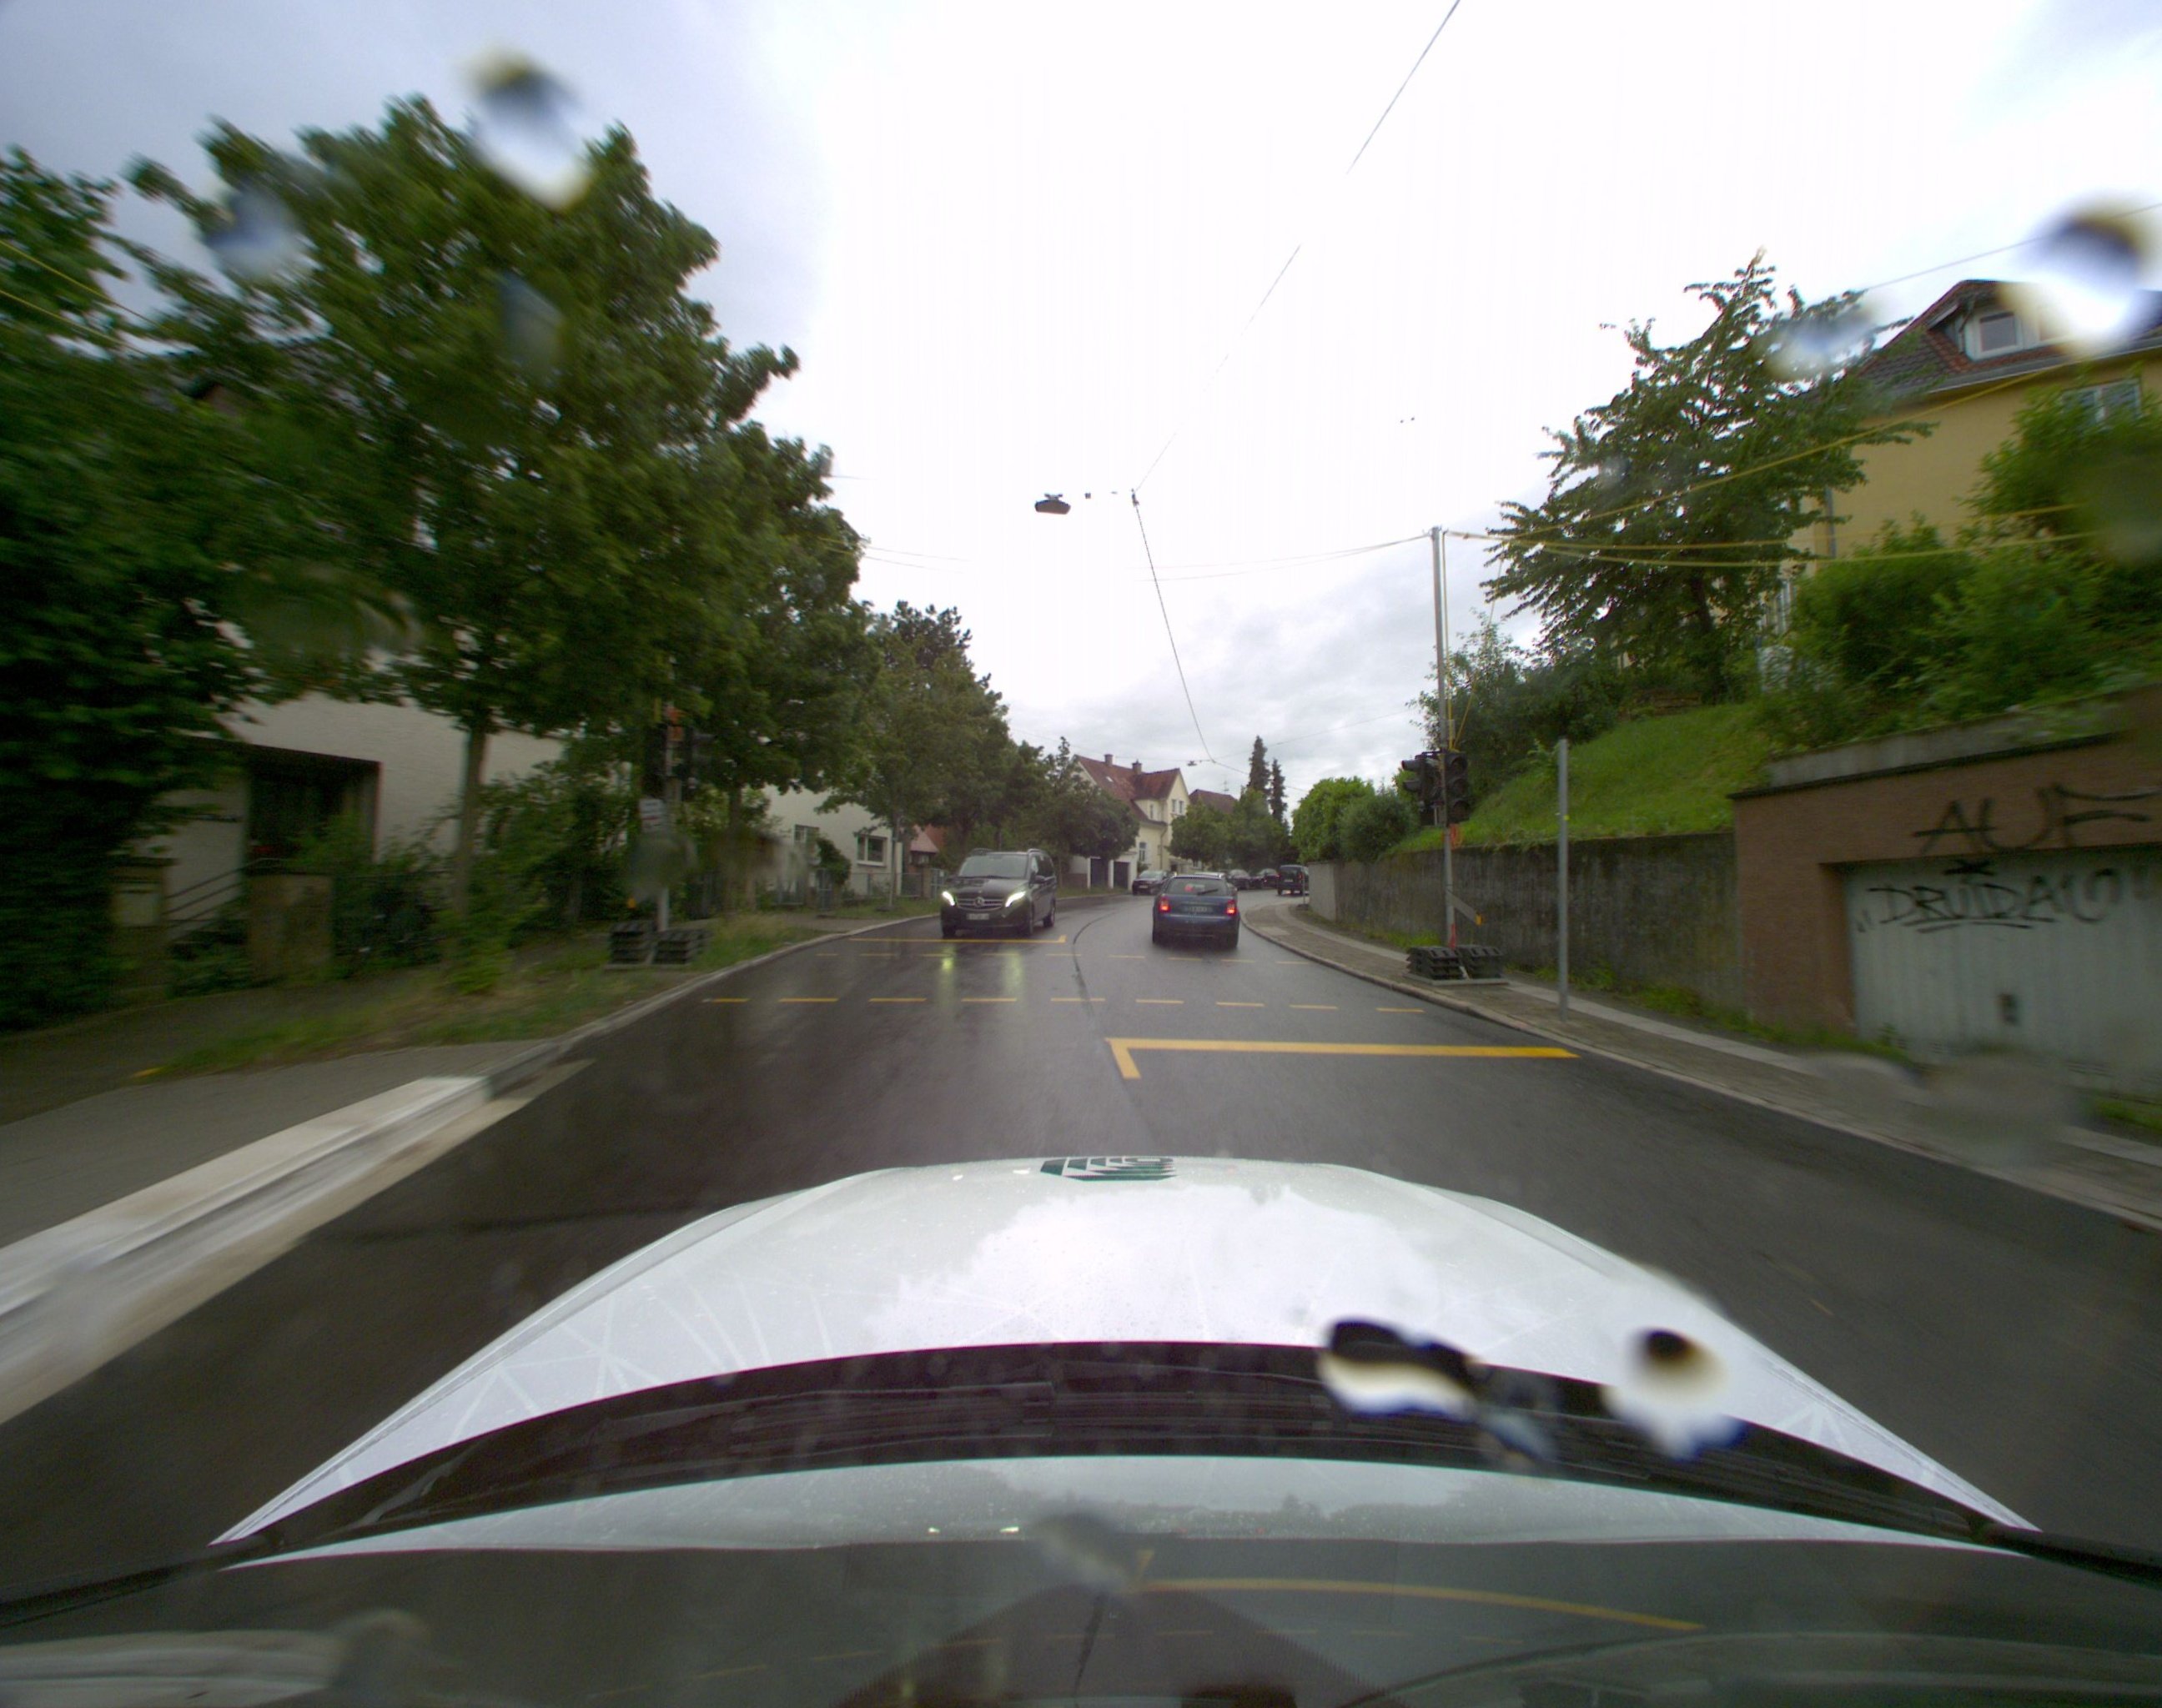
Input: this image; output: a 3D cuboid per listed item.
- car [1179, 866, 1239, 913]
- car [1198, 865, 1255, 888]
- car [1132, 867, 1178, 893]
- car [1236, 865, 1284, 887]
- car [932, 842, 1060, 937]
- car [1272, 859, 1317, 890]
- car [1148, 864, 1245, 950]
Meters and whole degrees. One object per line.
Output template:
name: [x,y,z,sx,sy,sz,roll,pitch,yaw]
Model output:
car: [5.374,1.405,33.737,1.961,1.635,4.252,-2,1,15]
car: [10.395,1.610,57.954,1.848,1.545,4.935,-1,-2,38]
car: [4.384,1.503,47.856,1.655,1.466,3.914,-2,-2,21]
car: [13.621,1.662,61.831,1.717,1.545,4.236,-1,-2,41]
car: [-1.769,0.764,18.892,1.887,1.889,5.161,-1,-1,6]
car: [13.509,1.261,51.403,1.717,1.768,4.261,-2,1,28]
car: [2.373,1.042,17.550,1.726,1.466,4.004,-2,1,3]
